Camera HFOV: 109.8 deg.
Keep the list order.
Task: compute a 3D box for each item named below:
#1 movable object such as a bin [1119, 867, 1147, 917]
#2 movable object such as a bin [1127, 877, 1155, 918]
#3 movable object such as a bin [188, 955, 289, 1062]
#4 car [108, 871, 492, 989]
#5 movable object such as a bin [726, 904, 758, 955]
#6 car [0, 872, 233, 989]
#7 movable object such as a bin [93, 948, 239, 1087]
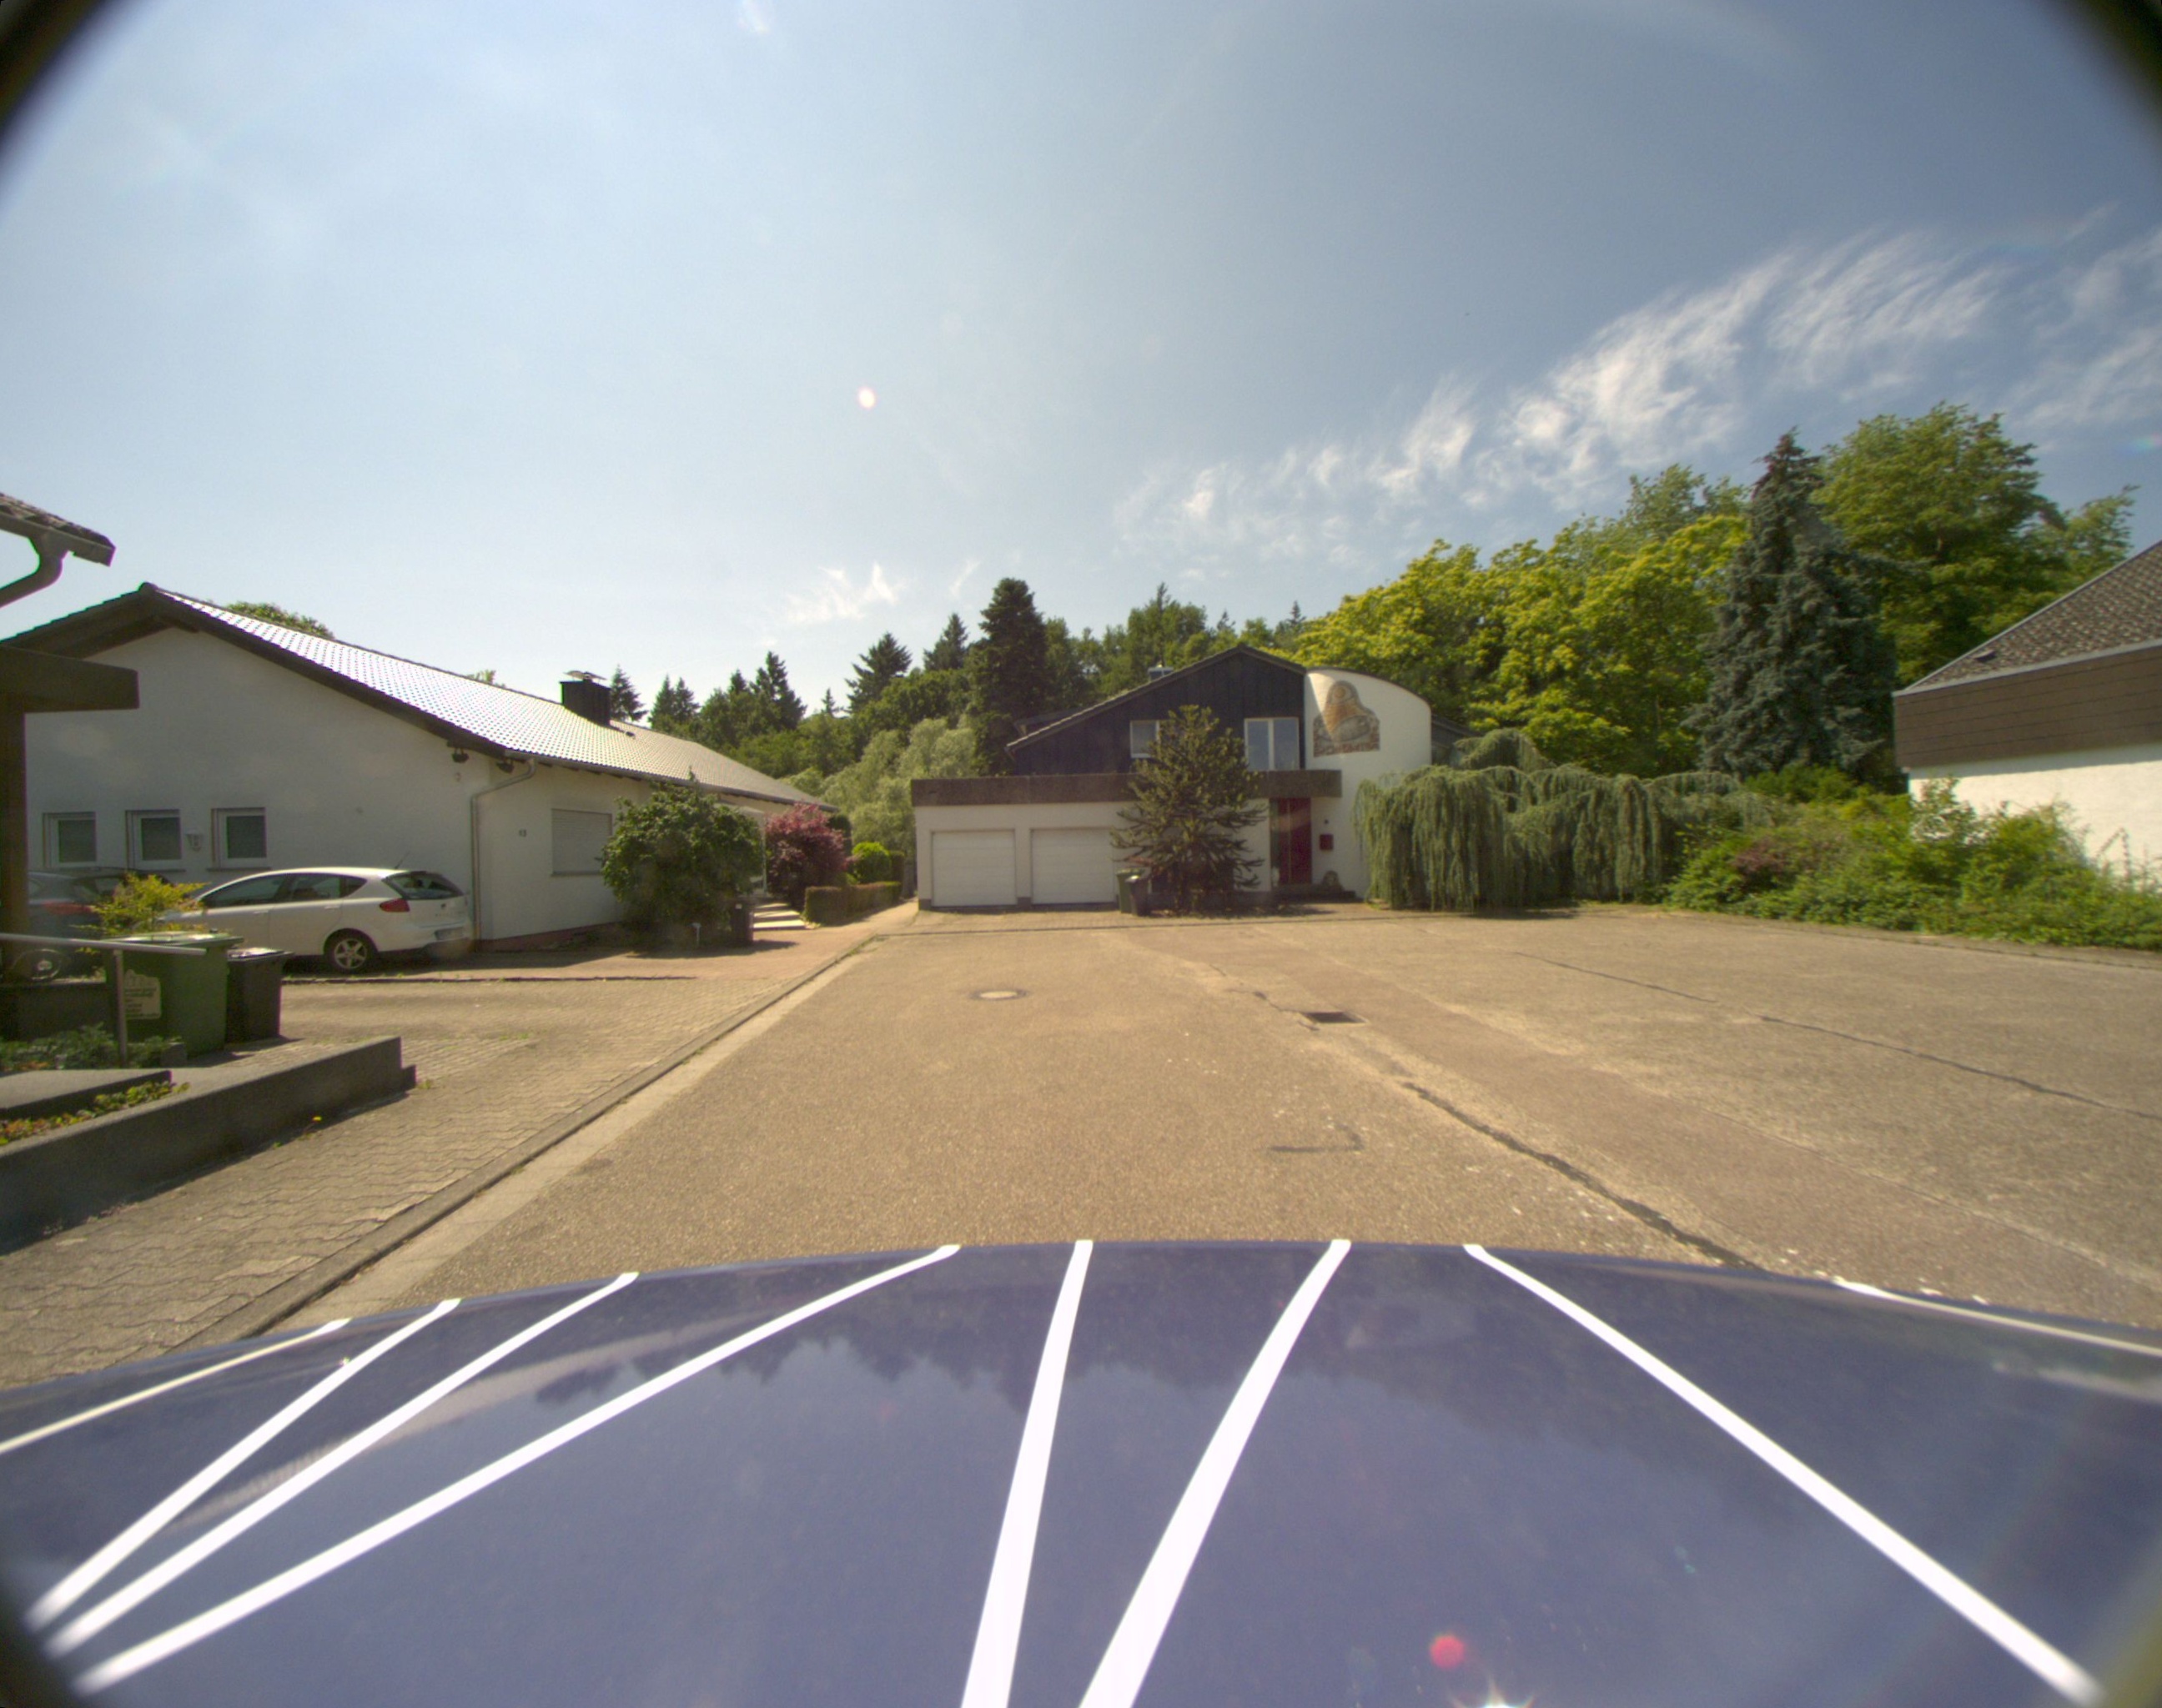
[{"bbox_3d":[1.289,0.941,18.880,0.633,1.196,0.551,-1,1,1],"label":"movable object such as a bin"},{"bbox_3d":[1.430,1.037,18.212,0.524,0.944,0.388,-2,1,-26],"label":"movable object such as a bin"},{"bbox_3d":[-7.787,1.417,7.037,0.426,0.886,0.407,-1,1,-7],"label":"movable object such as a bin"},{"bbox_3d":[-11.902,1.108,11.822,3.998,1.559,1.751,-1,1,-3],"label":"car"},{"bbox_3d":[-6.238,1.378,13.971,0.390,0.886,0.375,-1,1,0],"label":"movable object such as a bin"},{"bbox_3d":[-16.445,1.143,11.952,3.997,1.599,1.929,-1,1,1],"label":"car"},{"bbox_3d":[-7.802,1.373,6.507,0.491,1.035,0.592,-1,1,-7],"label":"movable object such as a bin"}]
